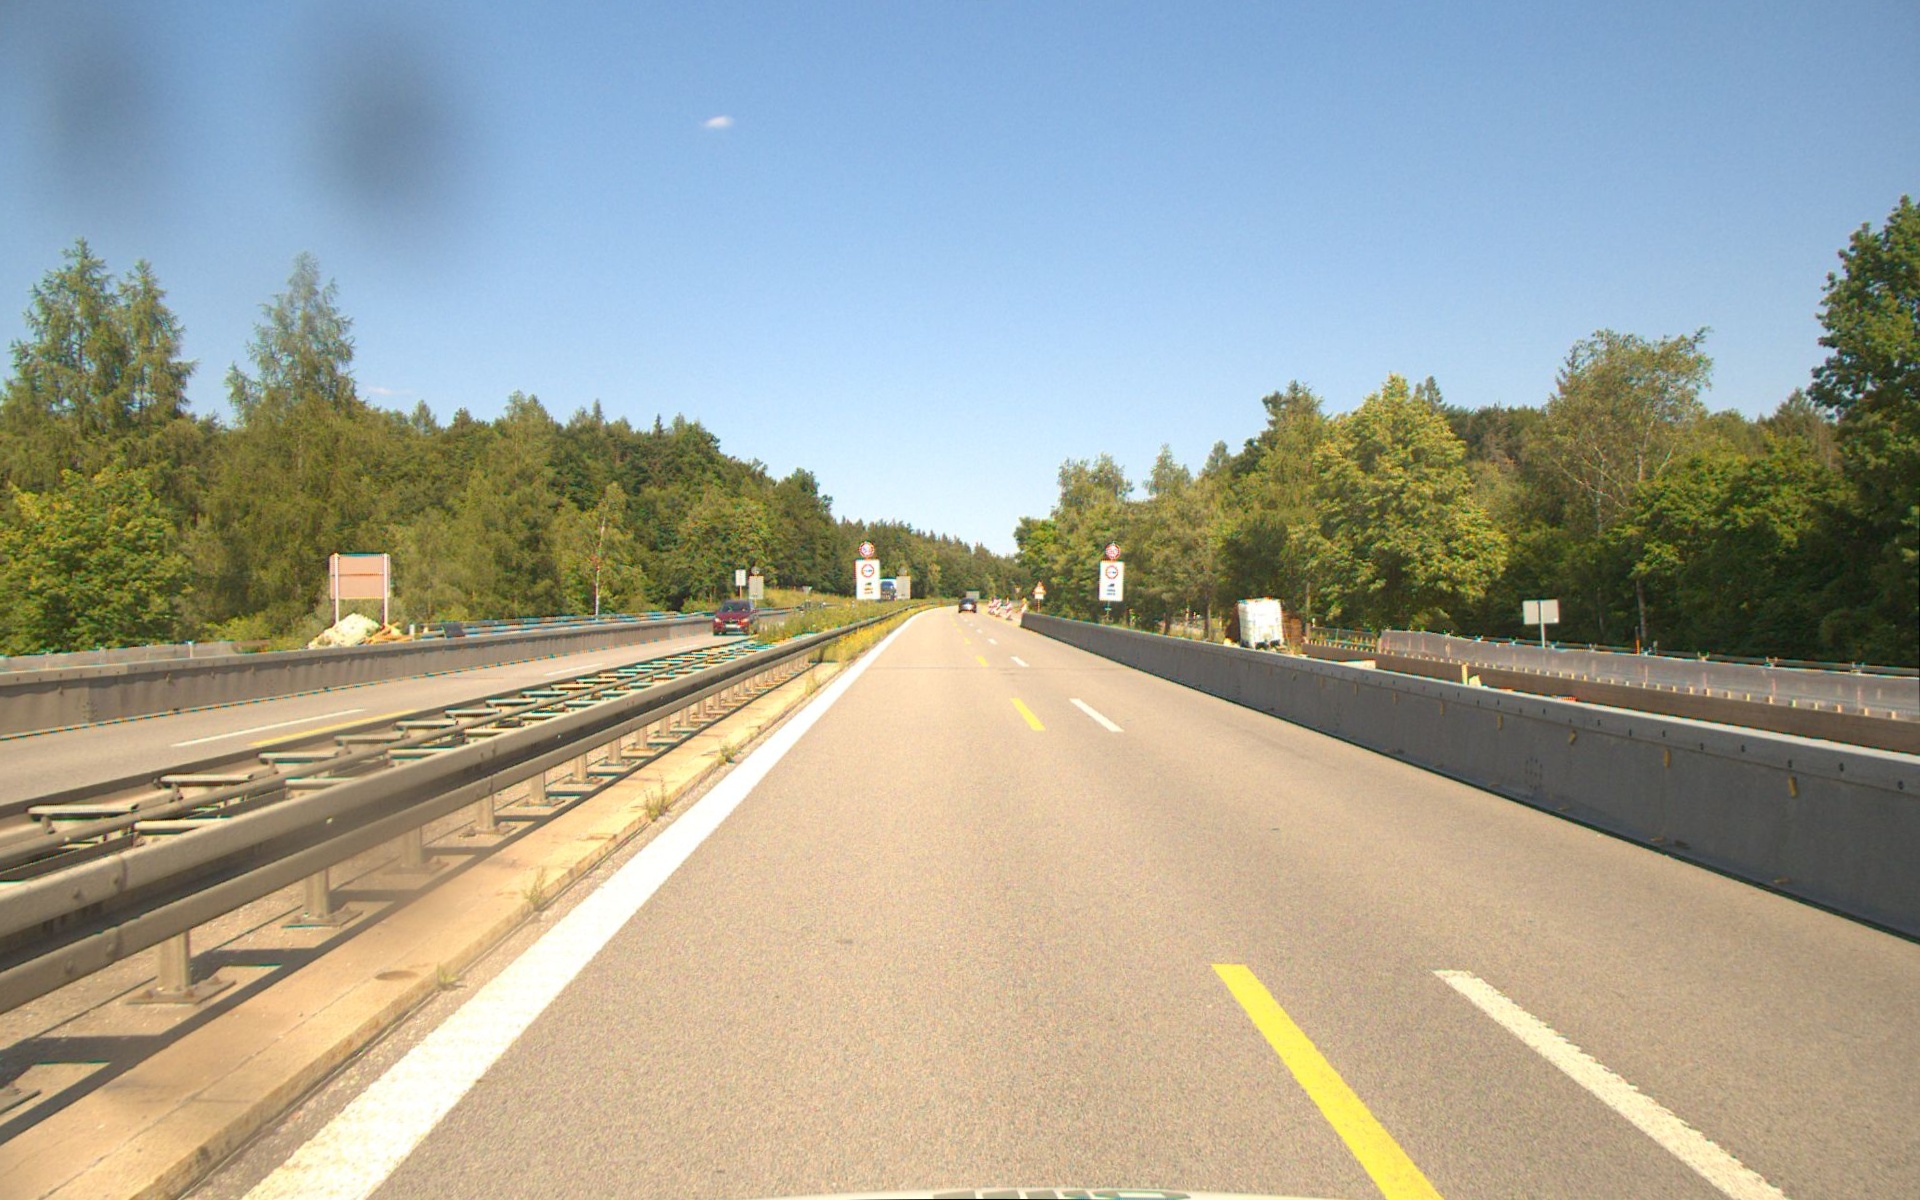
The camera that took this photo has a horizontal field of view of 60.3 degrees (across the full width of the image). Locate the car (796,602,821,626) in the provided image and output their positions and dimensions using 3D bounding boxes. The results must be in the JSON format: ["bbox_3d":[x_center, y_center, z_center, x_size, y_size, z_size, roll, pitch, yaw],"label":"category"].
[{"bbox_3d":[-10.923,1.032,119.464,1.496,1.589,3.453,-3,-2,-1],"label":"car"}]

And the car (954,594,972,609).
[{"bbox_3d":[0.270,0.150,166.342,1.708,1.492,4.293,-1,0,-1],"label":"car"}]

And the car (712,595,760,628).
[{"bbox_3d":[-10.504,0.534,77.789,1.708,1.492,4.293,-1,0,-1],"label":"car"}]
